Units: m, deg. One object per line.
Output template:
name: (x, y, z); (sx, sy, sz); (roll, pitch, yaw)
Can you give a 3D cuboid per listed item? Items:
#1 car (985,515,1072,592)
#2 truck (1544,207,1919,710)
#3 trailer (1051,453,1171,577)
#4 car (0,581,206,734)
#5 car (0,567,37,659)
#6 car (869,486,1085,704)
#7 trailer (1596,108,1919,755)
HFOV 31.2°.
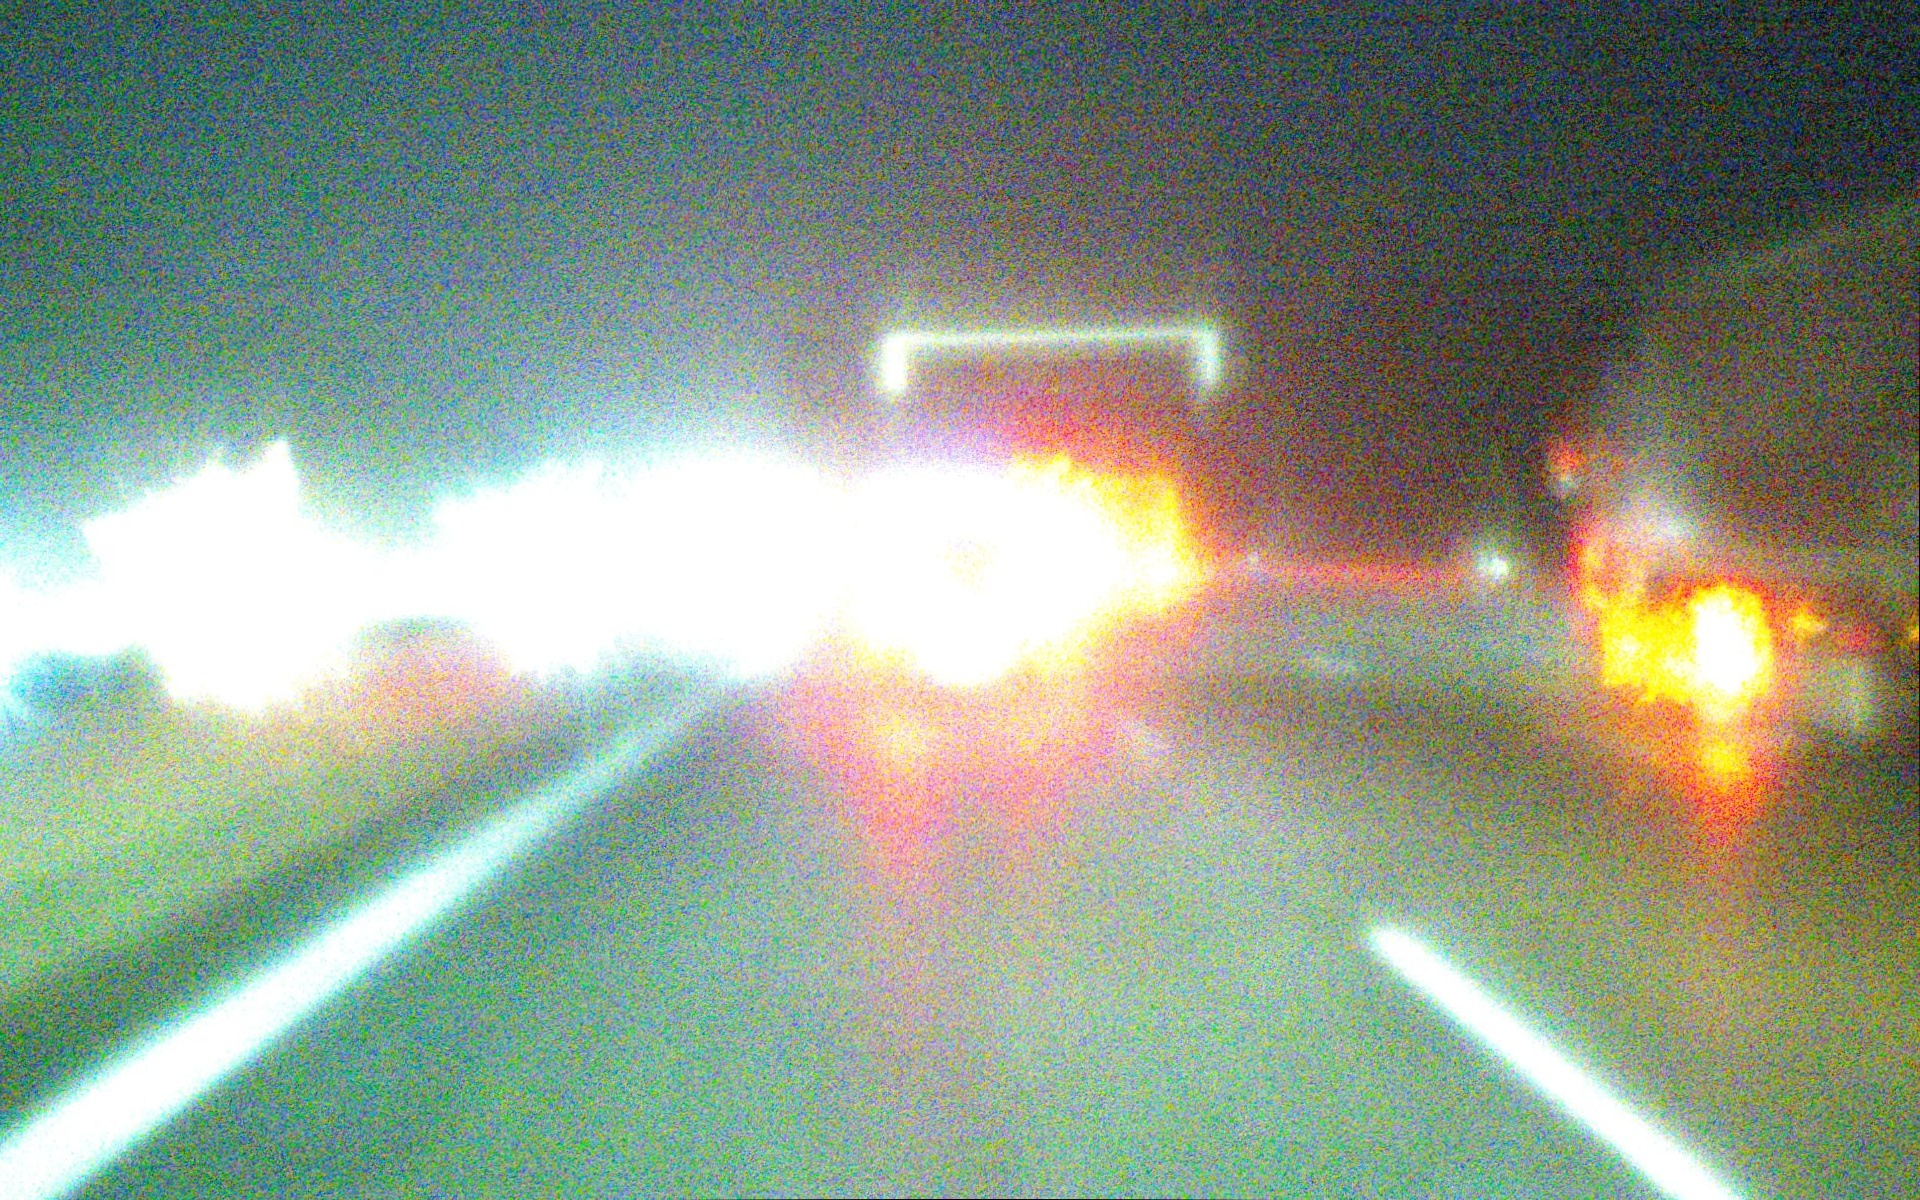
car: (1.884, -1.280, 95.801); (1.993, 2.007, 4.001); (-2, 0, -4)
truck: (7.397, -1.234, 31.406); (2.903, 4.094, 6.031); (-2, 1, -1)
trailer: (5.325, -2.941, 123.844); (3.041, 4.094, 13.830); (-2, 0, -2)
car: (-9.401, 0.567, 36.100); (1.993, 1.436, 4.437); (-1, 1, 0)
car: (-17.529, 0.253, 59.176); (1.993, 1.554, 4.534); (-1, 1, 1)
car: (0.162, -0.056, 33.993); (1.993, 2.007, 4.000); (-1, 0, 0)
trailer: (7.506, -1.142, 24.609); (2.903, 4.094, 14.489); (-2, 1, -1)
